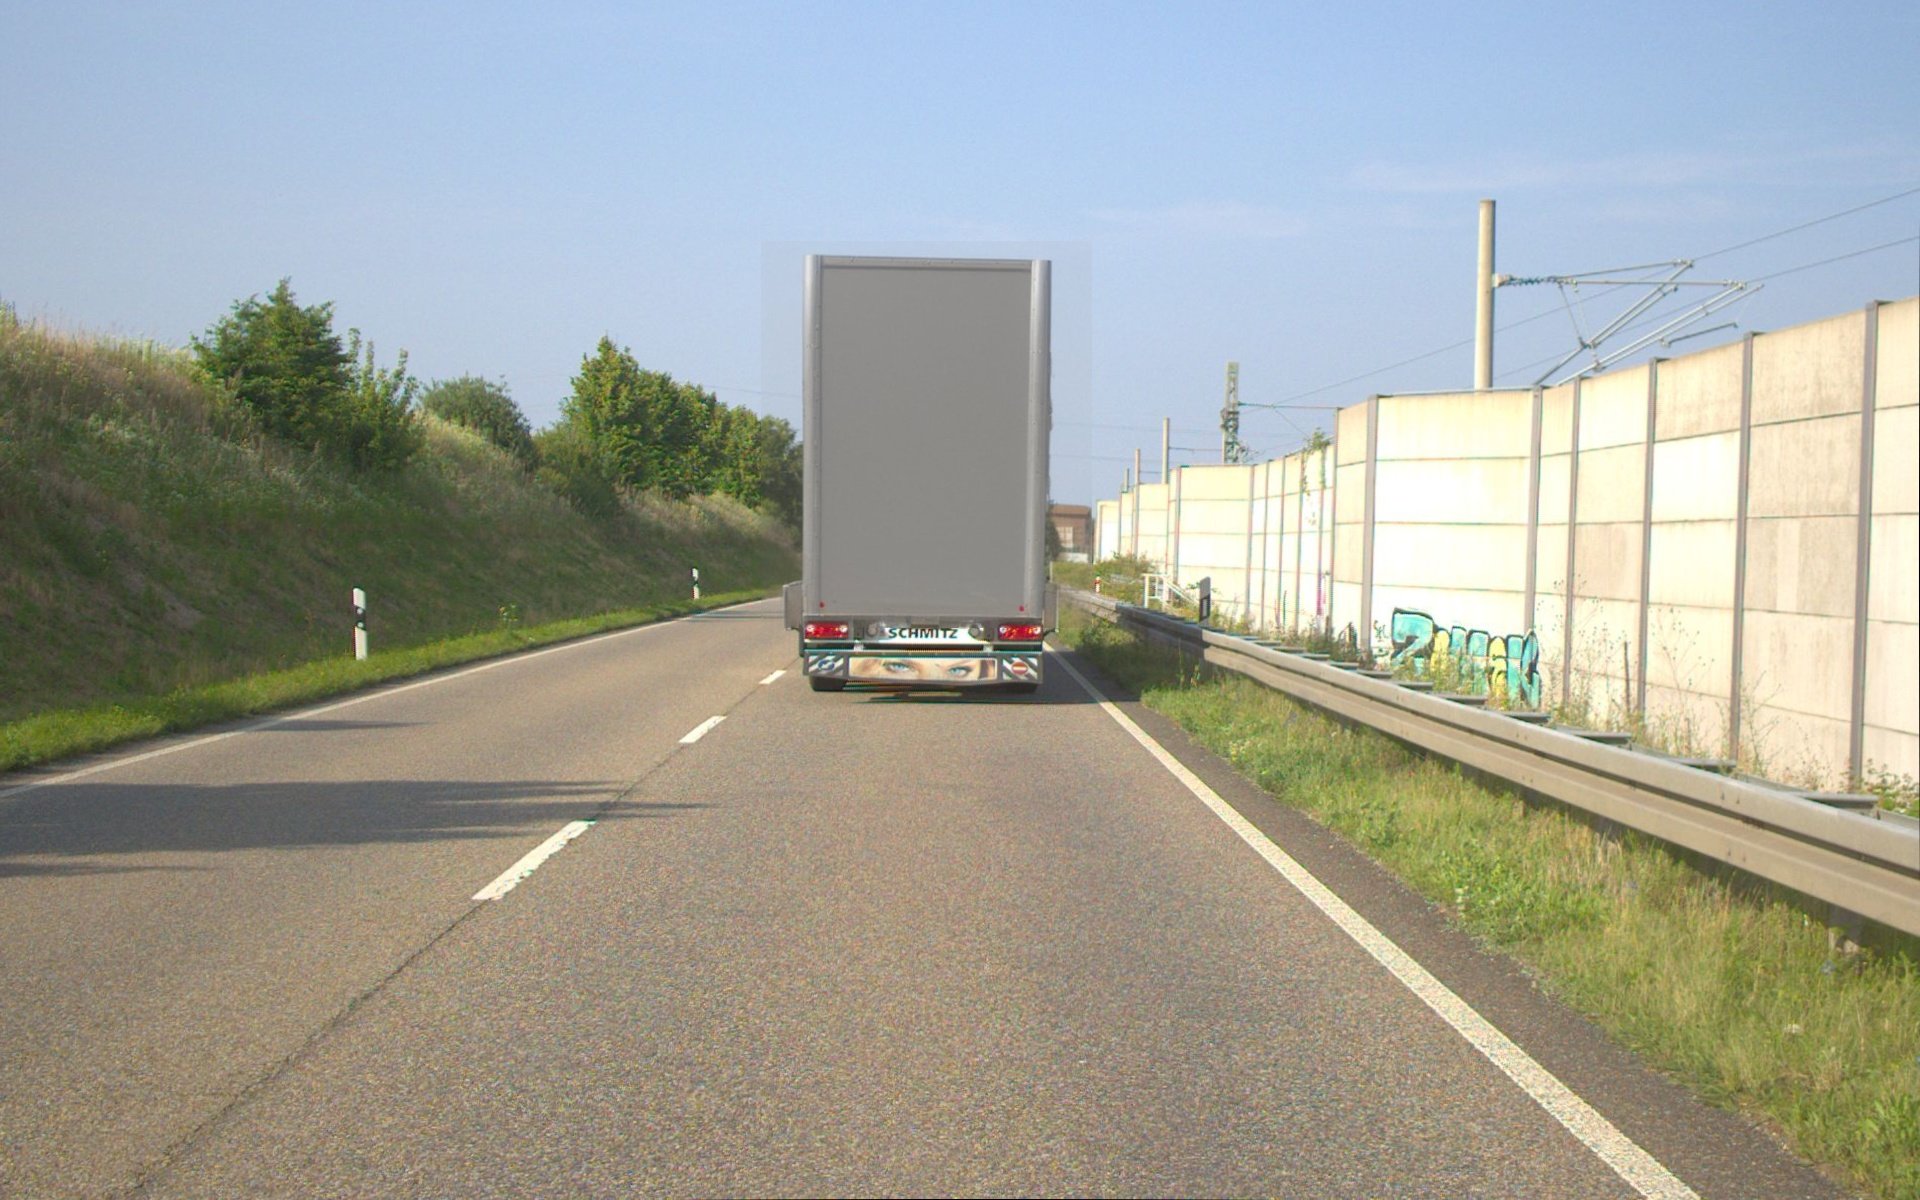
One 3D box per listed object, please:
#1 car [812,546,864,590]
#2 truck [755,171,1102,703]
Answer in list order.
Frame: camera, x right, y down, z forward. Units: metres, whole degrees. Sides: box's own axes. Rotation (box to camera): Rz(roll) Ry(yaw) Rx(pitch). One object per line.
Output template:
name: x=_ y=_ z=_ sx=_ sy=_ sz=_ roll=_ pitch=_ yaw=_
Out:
car: x=-4.173 y=-1.108 z=117.811 sx=1.716 sy=1.448 sz=4.019 roll=1 pitch=1 yaw=-1
truck: x=-0.278 y=-1.669 z=38.991 sx=3.290 sy=5.072 sz=12.038 roll=0 pitch=1 yaw=0
